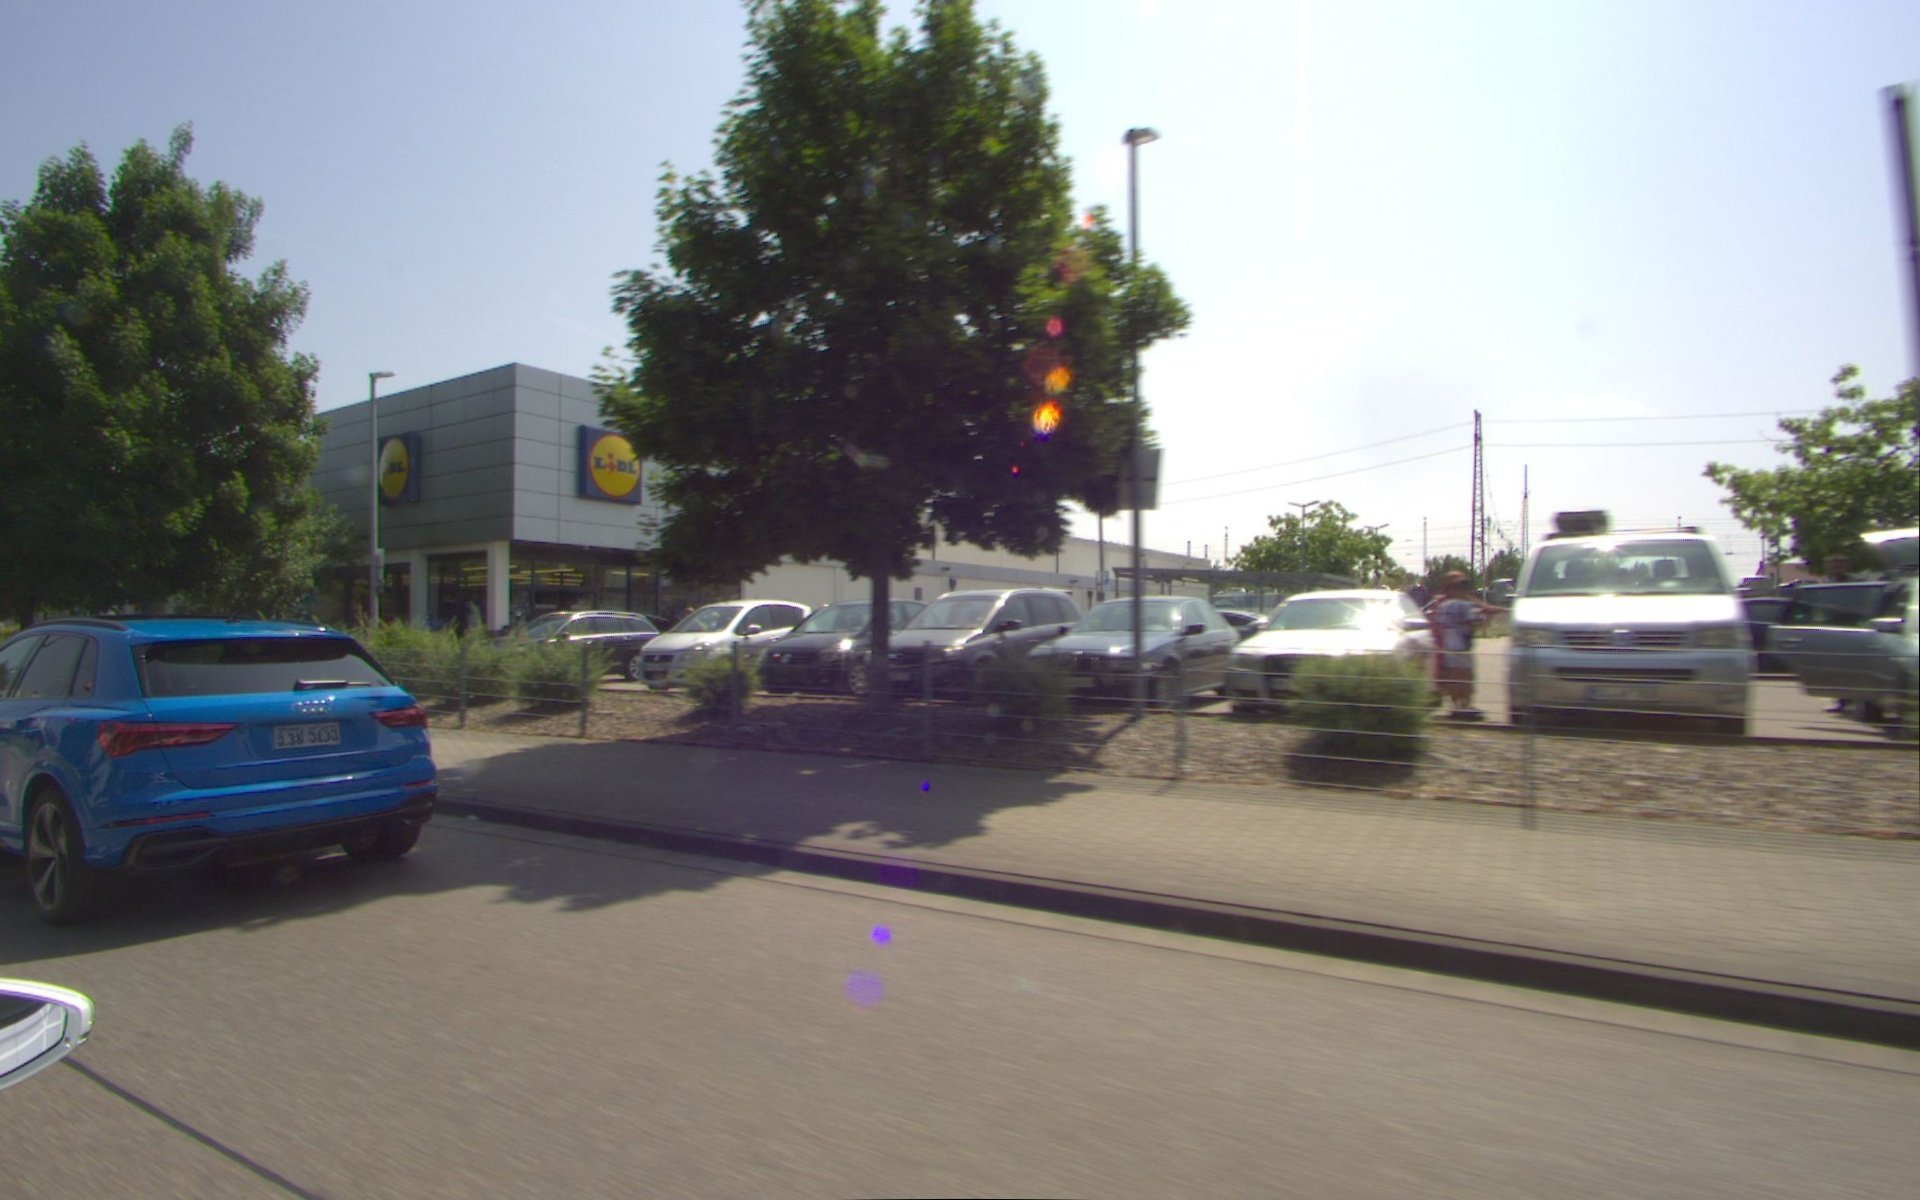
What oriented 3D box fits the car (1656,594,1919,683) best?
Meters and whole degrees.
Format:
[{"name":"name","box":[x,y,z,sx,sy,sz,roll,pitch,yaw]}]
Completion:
[{"name":"car","box":[14.663,0.640,17.560,3.943,1.439,1.725,-1,0,32]}]

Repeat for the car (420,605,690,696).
[{"name":"car","box":[-8.107,0.943,20.599,1.993,1.617,4.983,-1,-1,30]}]

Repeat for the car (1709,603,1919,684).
[{"name":"car","box":[16.448,0.803,19.230,3.206,1.439,1.262,-1,0,32]}]

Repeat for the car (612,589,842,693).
[{"name":"car","box":[-4.005,0.726,17.856,1.799,1.616,3.984,-1,-2,29]}]

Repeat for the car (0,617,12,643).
[{"name":"car","box":[-51.436,1.562,50.866,4.623,1.369,1.953,-1,0,-1]}]

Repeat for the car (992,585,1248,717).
[{"name":"car","box":[2.208,0.606,12.885,1.801,1.407,3.979,-1,-2,33]}]

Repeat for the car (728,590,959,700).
[{"name":"car","box":[-1.748,0.710,16.333,1.799,1.553,3.985,-2,-2,28]}]

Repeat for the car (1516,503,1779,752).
[{"name":"car","box":[6.917,0.286,10.275,1.801,1.949,4.607,-1,-2,33]}]

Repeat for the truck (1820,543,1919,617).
[{"name":"truck","box":[52.146,-1.092,52.916,9.901,3.888,2.841,-1,0,36]}]

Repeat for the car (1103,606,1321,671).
[{"name":"car","box":[6.065,0.896,24.344,4.851,1.439,1.793,-1,0,33]}]

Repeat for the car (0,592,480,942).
[{"name":"car","box":[-5.260,0.848,6.541,4.287,1.612,1.806,-1,-3,32]}]

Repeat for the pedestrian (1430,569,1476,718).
[{"name":"pedestrian","box":[5.557,0.485,11.282,0.440,1.636,0.415,0,0,29]}]

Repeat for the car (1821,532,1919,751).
[{"name":"car","box":[8.887,0.343,8.513,1.801,1.613,4.358,-1,-2,33]}]

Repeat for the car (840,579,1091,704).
[{"name":"car","box":[0.228,0.591,14.610,1.802,1.553,3.979,-2,-2,33]}]

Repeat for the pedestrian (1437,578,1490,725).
[{"name":"pedestrian","box":[5.428,0.541,10.786,0.441,1.545,0.414,0,0,37]}]

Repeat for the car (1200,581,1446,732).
[{"name":"car","box":[4.295,0.585,11.467,1.801,1.407,3.979,-1,-2,33]}]

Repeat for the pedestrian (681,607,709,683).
[{"name":"pedestrian","box":[-6.013,1.011,22.724,0.410,1.695,0.447,0,0,29]}]
